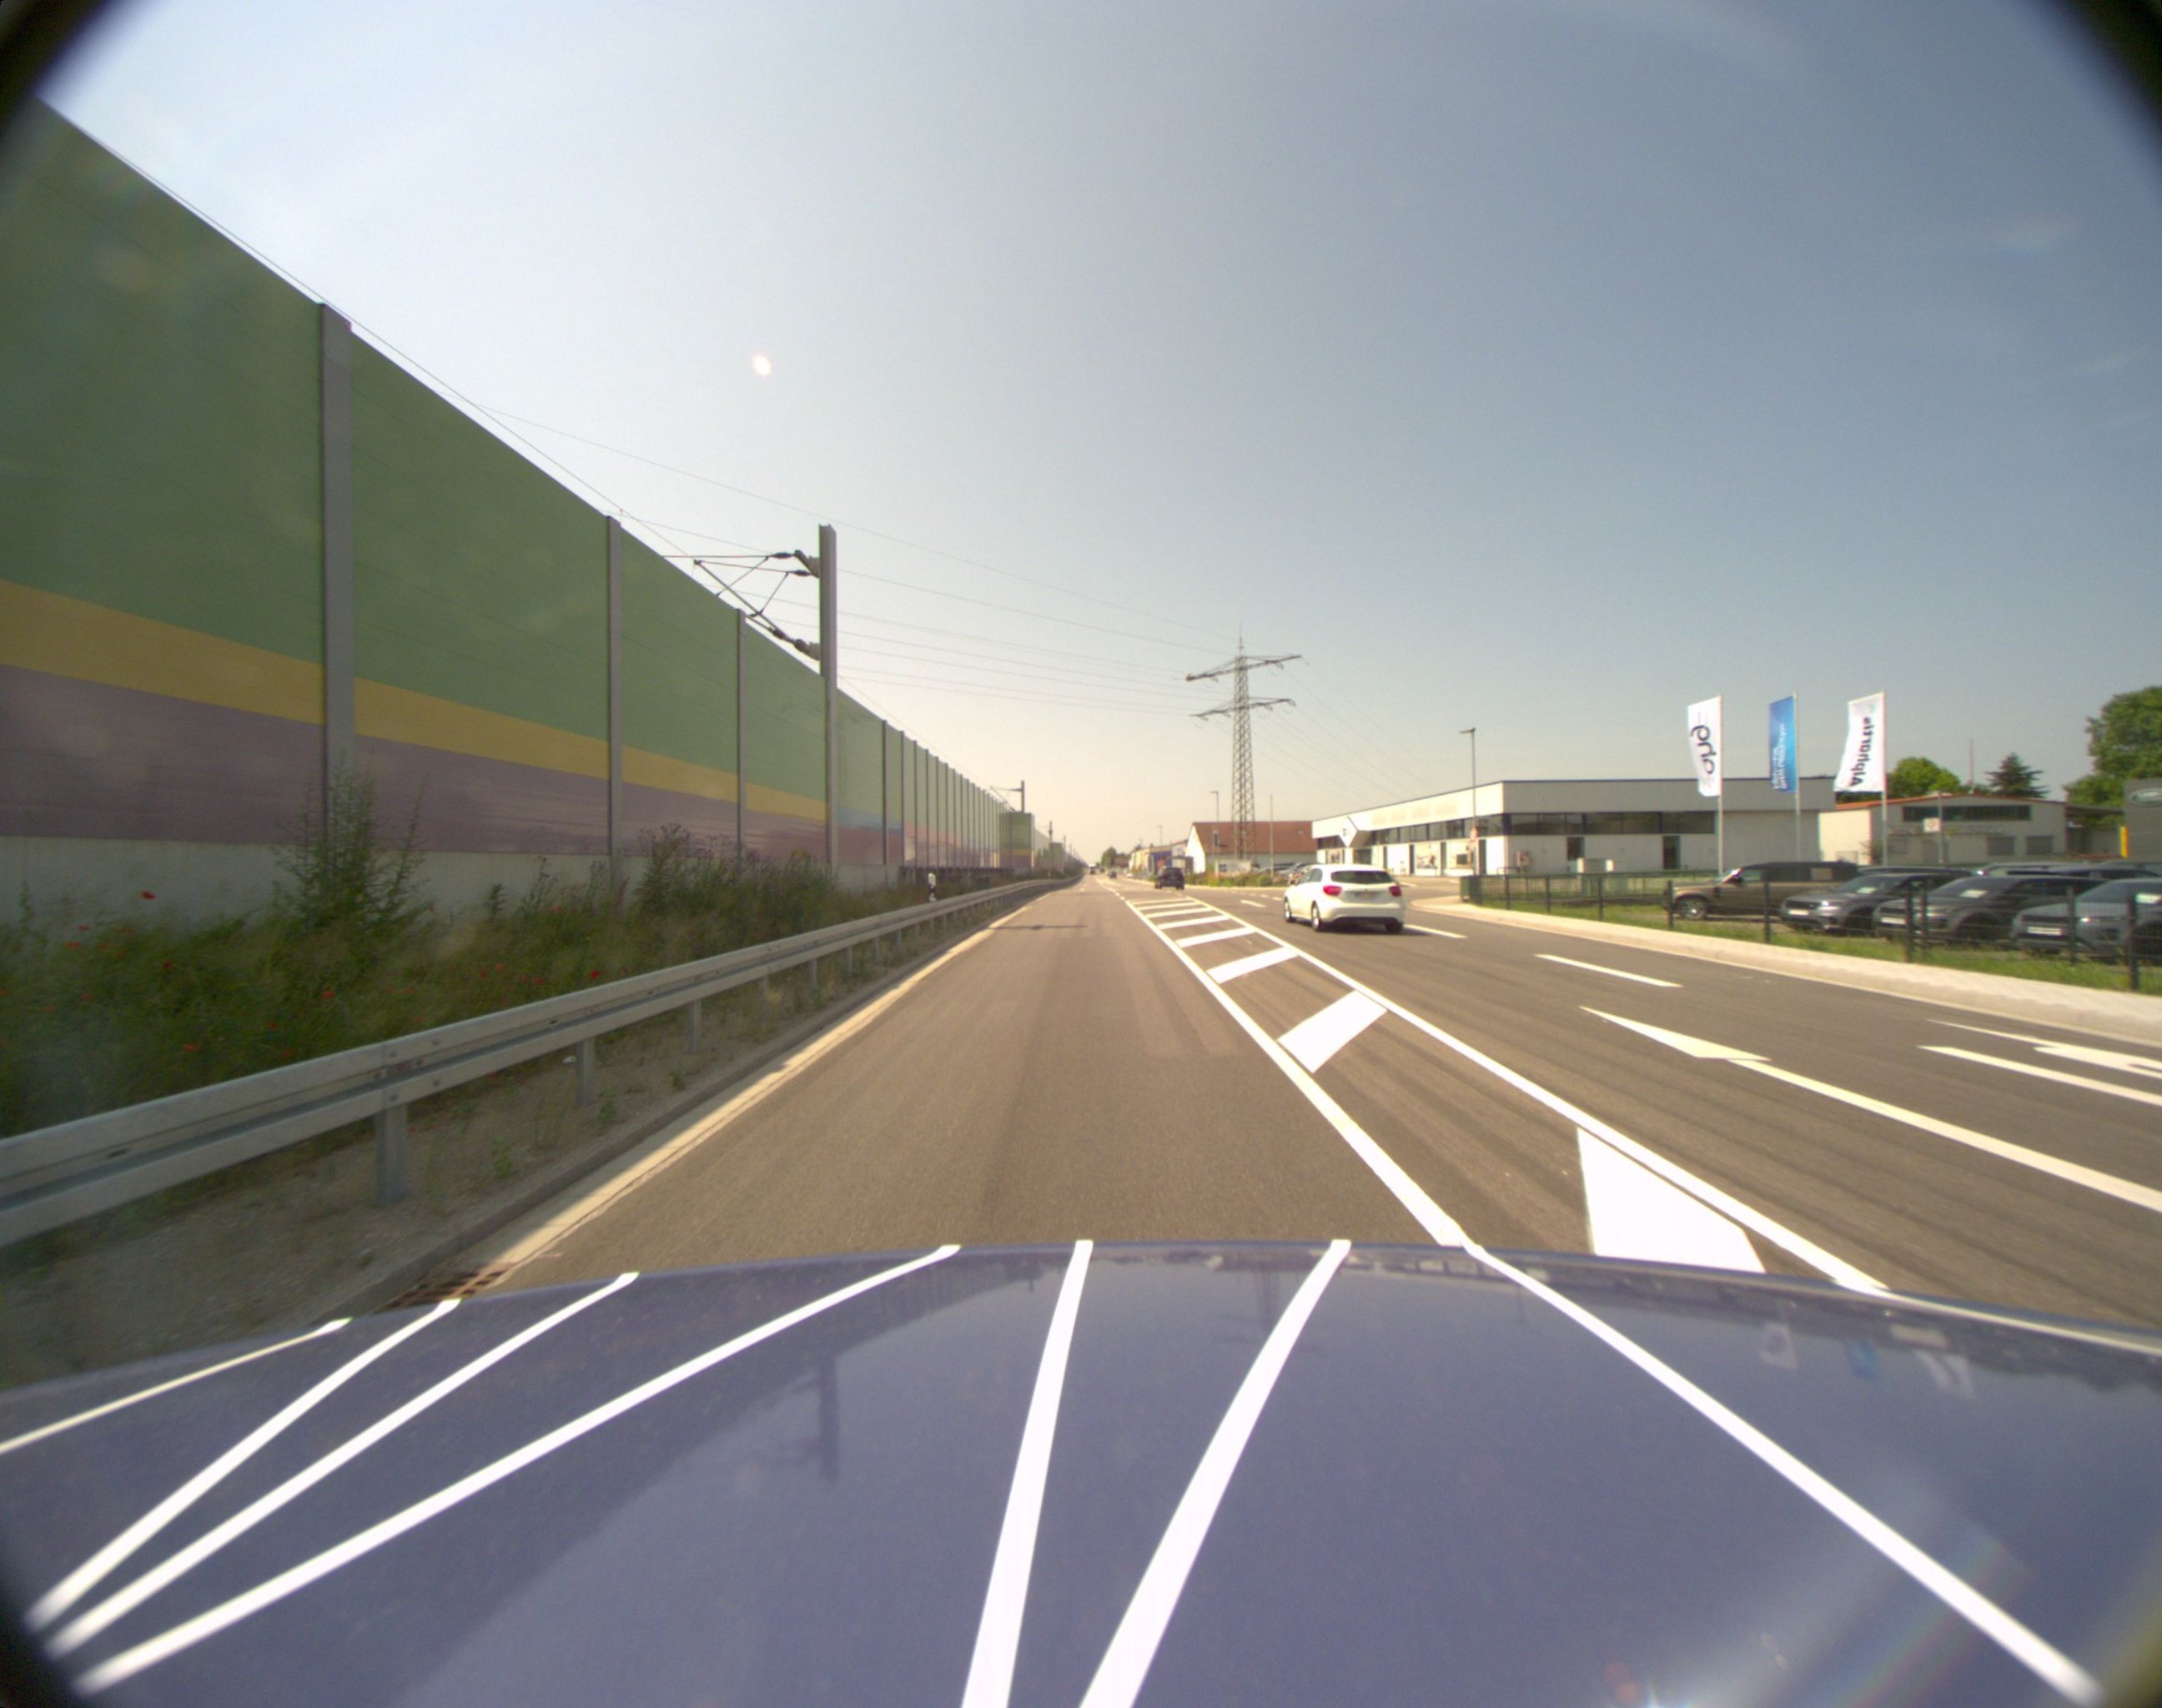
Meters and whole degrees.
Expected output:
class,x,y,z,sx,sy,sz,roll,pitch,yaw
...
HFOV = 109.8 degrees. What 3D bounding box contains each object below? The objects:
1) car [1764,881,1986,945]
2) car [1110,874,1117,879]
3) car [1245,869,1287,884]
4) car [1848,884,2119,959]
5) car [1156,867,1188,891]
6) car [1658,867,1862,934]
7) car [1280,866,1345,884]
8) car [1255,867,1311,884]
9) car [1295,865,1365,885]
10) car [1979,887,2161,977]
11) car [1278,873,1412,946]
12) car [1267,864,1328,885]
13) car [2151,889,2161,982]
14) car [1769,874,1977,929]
class,x,y,z,sx,sy,sz,roll,pitch,yaw
car,21.243,1.546,20.454,3.997,1.622,1.887,0,-2,-1
car,7.974,5.560,187.923,1.675,1.414,4.001,1,-2,1
car,17.404,2.124,71.605,3.518,1.246,1.505,-3,-1,-1
car,20.942,1.529,17.779,3.997,1.622,1.977,0,-2,-1
car,6.508,1.785,54.827,1.882,1.663,4.292,0,-2,1
car,21.296,1.395,24.136,4.666,1.854,2.070,-1,0,38
car,17.158,1.591,56.437,4.235,1.306,1.834,0,-2,-3
car,16.646,1.799,62.813,3.999,1.405,1.999,0,-2,-6
car,17.119,1.450,52.399,4.235,1.385,1.834,0,-2,-3
car,20.890,1.479,15.005,3.997,1.622,1.977,0,-2,-1
car,5.787,1.152,17.163,1.785,1.407,4.051,0,-1,3
car,16.974,1.612,59.650,4.235,1.638,1.834,0,-2,-3
car,20.856,1.394,12.363,3.996,1.622,1.968,0,-2,1
car,25.258,1.448,24.484,4.496,1.553,1.931,-1,0,44
